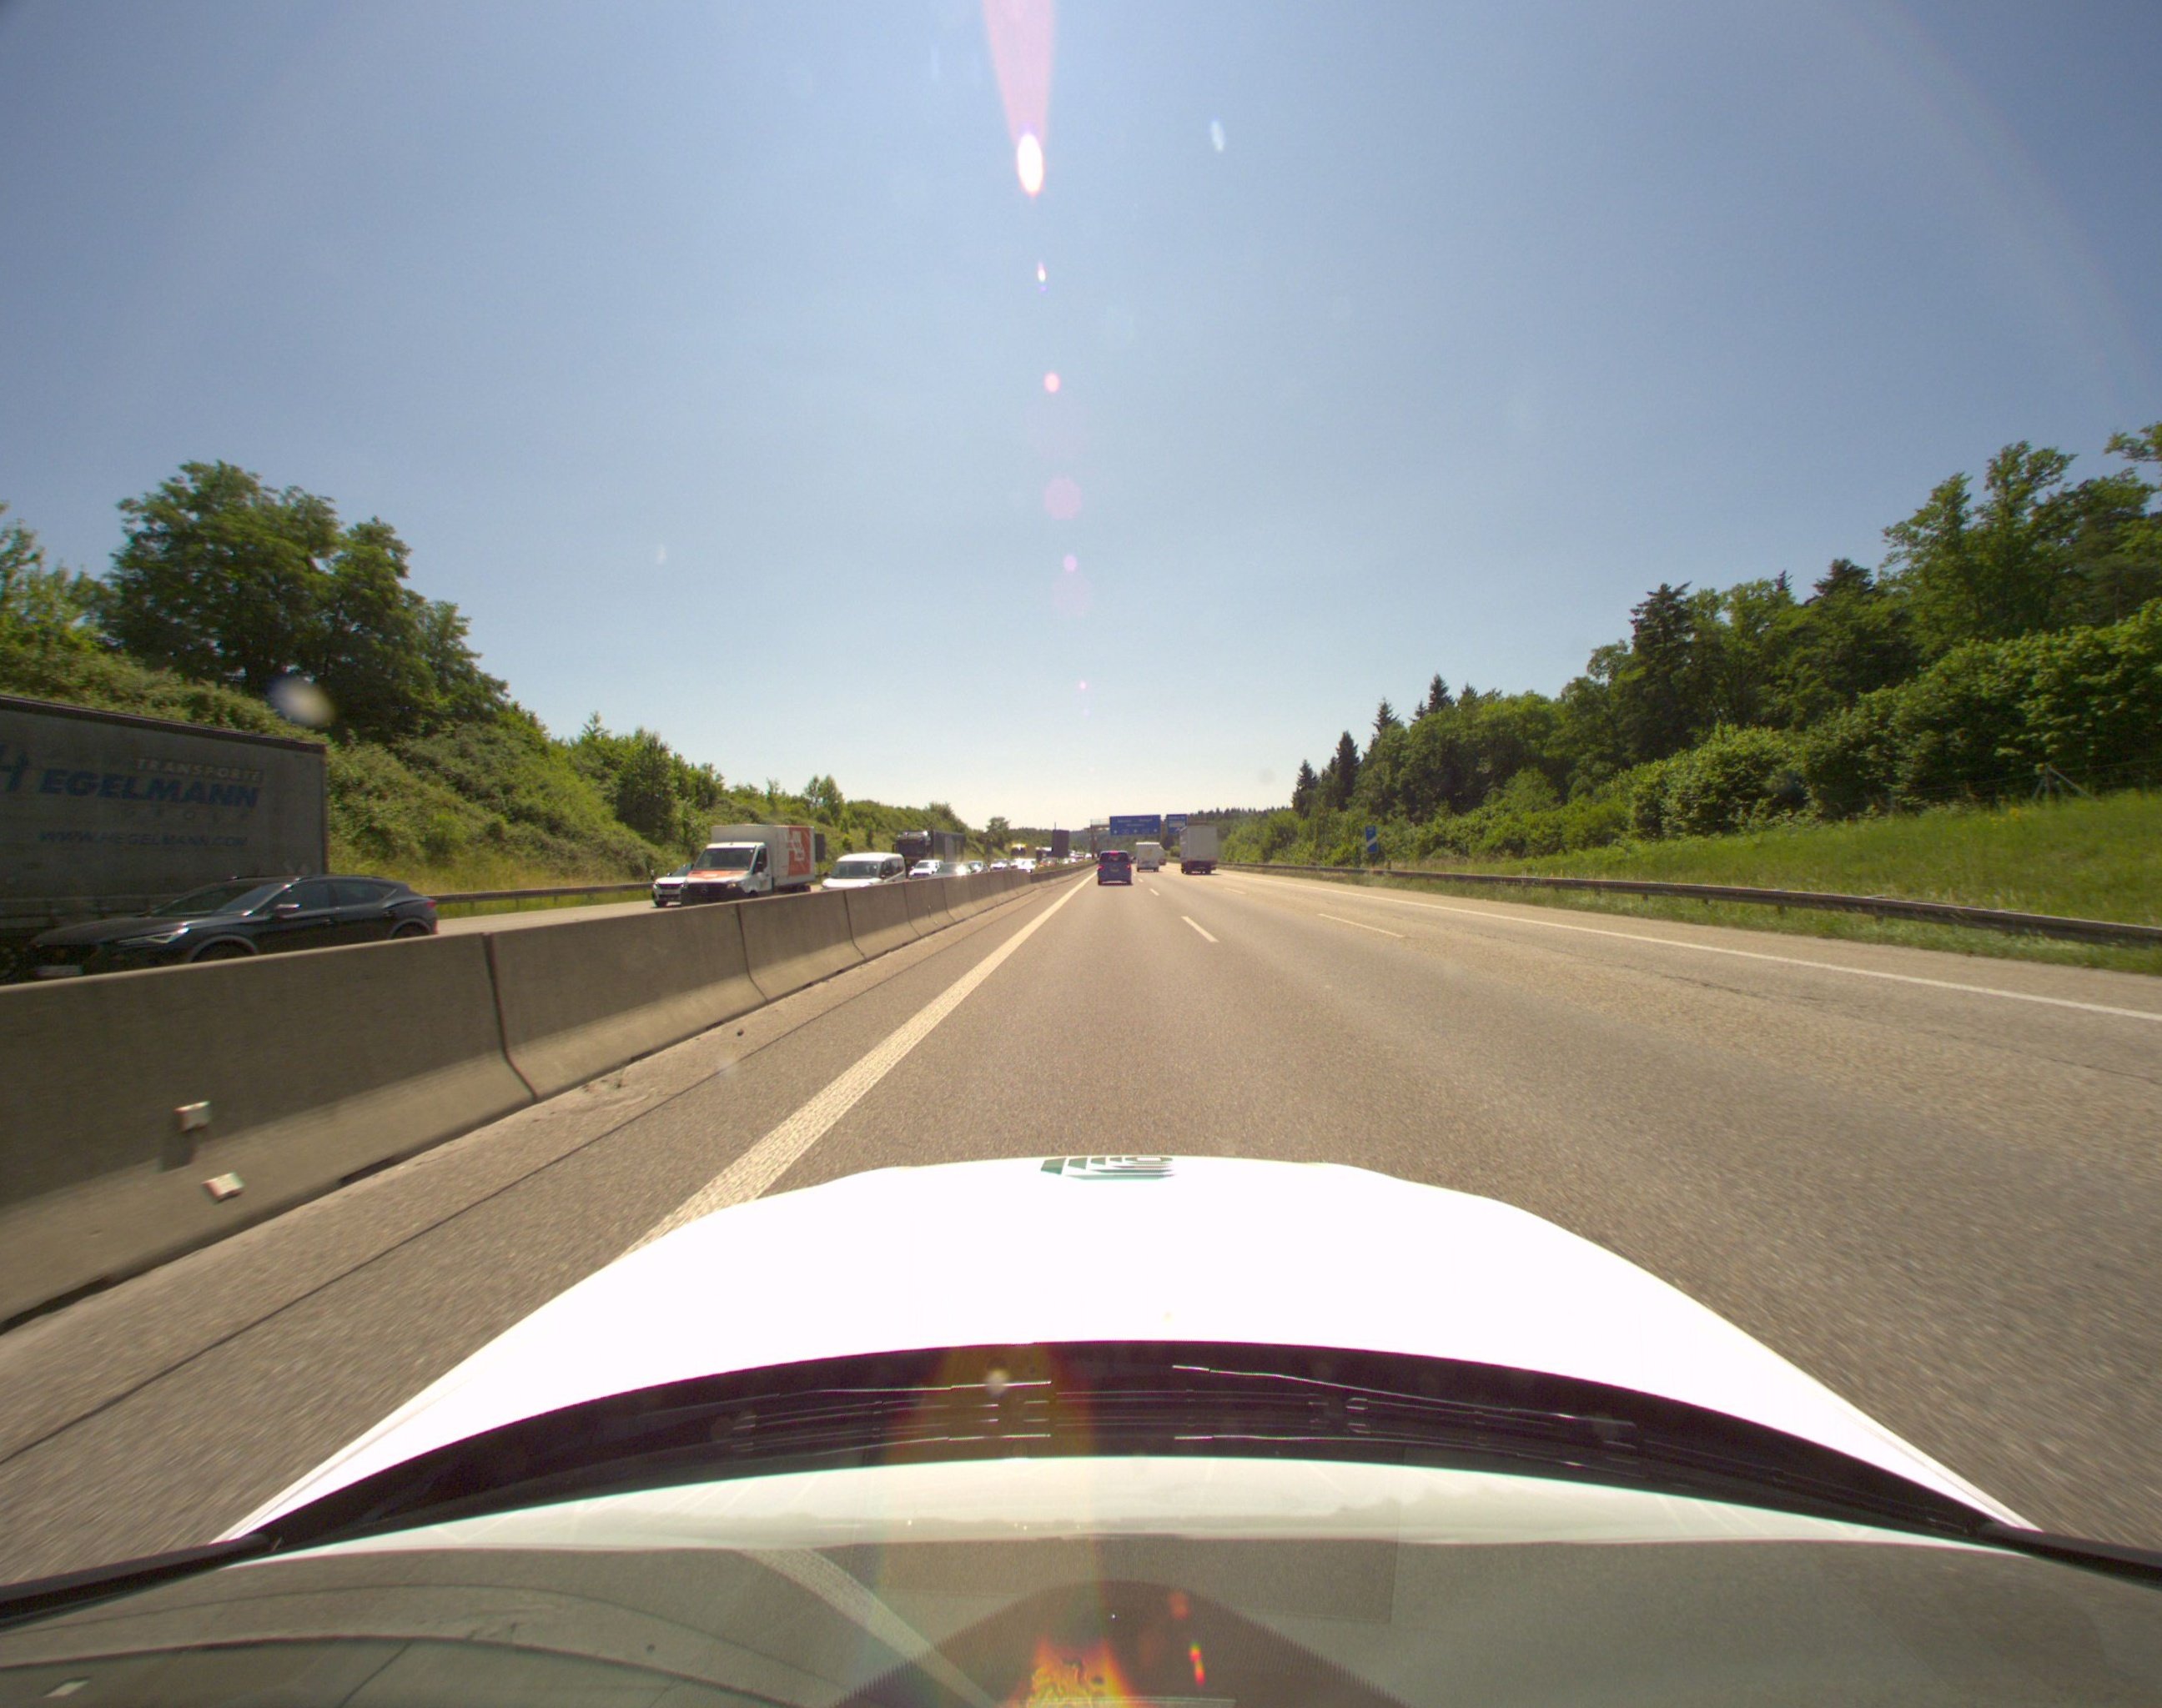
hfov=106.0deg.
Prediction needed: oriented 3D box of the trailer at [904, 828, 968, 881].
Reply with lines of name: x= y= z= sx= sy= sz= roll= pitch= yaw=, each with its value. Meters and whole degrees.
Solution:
trailer: x=-12.606 y=0.119 z=72.284 sx=2.831 sy=4.262 sz=12.794 roll=0 pitch=-1 yaw=3

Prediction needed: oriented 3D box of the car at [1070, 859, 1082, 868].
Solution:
car: x=-0.928 y=1.736 z=150.010 sx=1.804 sy=1.513 sz=5.033 roll=0 pitch=-1 yaw=3

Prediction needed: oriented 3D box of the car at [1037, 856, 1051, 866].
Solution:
car: x=-6.305 y=1.221 z=140.883 sx=1.854 sy=1.752 sz=5.906 roll=0 pitch=-1 yaw=3

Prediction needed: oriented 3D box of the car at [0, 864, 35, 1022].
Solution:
car: x=-11.631 y=0.856 z=6.037 sx=1.821 sy=1.565 sz=4.524 roll=0 pitch=-1 yaw=1

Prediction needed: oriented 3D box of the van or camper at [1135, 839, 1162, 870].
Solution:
van or camper: x=7.025 y=-0.011 z=85.895 sx=2.592 sy=3.078 sz=7.188 roll=0 pitch=1 yaw=3

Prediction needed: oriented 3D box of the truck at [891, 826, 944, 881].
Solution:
truck: x=-12.974 y=-0.027 z=65.032 sx=2.807 sy=4.203 sz=5.633 roll=0 pitch=-1 yaw=3

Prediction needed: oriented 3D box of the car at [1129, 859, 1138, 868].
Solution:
car: x=10.716 y=1.915 z=166.415 sx=1.810 sy=1.794 sz=3.897 roll=0 pitch=-1 yaw=3

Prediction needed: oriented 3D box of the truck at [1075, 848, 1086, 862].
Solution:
truck: x=-0.044 y=0.200 z=175.450 sx=2.111 sy=2.842 sz=6.216 roll=0 pitch=-1 yaw=3

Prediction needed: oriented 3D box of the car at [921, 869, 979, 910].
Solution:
car: x=-6.066 y=1.590 z=38.241 sx=1.821 sy=1.764 sz=4.991 roll=0 pitch=-1 yaw=1

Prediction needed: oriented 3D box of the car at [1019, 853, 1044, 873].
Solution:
car: x=-4.441 y=0.831 z=73.054 sx=1.821 sy=1.764 sz=4.991 roll=0 pitch=-1 yaw=1

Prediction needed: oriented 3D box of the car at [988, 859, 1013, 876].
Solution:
car: x=-8.233 y=1.363 z=83.681 sx=1.804 sy=1.629 sz=5.223 roll=0 pitch=-1 yaw=3

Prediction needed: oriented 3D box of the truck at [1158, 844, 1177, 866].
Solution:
truck: x=15.256 y=0.133 z=143.822 sx=2.915 sy=3.575 sz=8.534 roll=-2 pitch=0 yaw=3

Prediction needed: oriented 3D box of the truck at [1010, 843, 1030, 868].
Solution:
truck: x=-10.144 y=0.366 z=135.906 sx=2.593 sy=4.065 sz=6.134 roll=0 pitch=-1 yaw=1

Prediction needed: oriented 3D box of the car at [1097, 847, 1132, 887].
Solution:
car: x=1.888 y=0.689 z=46.139 sx=1.902 sy=2.013 sz=4.003 roll=-1 pitch=2 yaw=2

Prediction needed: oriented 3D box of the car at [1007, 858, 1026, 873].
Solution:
car: x=-7.835 y=1.339 z=98.909 sx=1.821 sy=1.764 sz=4.991 roll=0 pitch=-1 yaw=1

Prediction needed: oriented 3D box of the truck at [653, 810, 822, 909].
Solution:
truck: x=-11.007 y=0.202 z=26.934 sx=2.559 sy=2.845 sz=6.755 roll=0 pitch=-1 yaw=2

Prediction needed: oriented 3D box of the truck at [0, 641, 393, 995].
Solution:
truck: x=-15.424 y=-0.471 z=9.104 sx=2.982 sy=4.543 sz=13.935 roll=0 pitch=-1 yaw=3

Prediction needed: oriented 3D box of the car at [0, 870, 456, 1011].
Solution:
car: x=-11.480 y=1.029 z=11.468 sx=1.790 sy=1.557 sz=4.450 roll=0 pitch=-1 yaw=2

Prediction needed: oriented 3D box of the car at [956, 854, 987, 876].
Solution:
car: x=-9.030 y=0.905 z=67.526 sx=1.821 sy=1.764 sz=4.991 roll=0 pitch=-1 yaw=1

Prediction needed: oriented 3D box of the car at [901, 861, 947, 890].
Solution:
car: x=-9.795 y=1.320 z=51.272 sx=1.821 sy=1.764 sz=4.991 roll=0 pitch=-1 yaw=1

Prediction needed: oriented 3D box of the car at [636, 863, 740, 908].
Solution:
car: x=-15.000 y=1.168 z=31.373 sx=1.726 sy=1.587 sz=4.371 roll=0 pitch=-1 yaw=2

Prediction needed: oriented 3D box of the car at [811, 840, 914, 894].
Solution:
car: x=-6.832 y=0.417 z=26.093 sx=1.821 sy=1.565 sz=5.112 roll=0 pitch=-1 yaw=1

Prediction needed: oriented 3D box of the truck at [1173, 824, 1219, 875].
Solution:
truck: x=9.985 y=-0.284 z=71.602 sx=2.773 sy=4.128 sz=9.740 roll=0 pitch=-1 yaw=1

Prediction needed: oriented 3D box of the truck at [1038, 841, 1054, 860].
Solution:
truck: x=-7.926 y=-0.739 z=185.836 sx=2.768 sy=4.114 sz=7.039 roll=-1 pitch=-1 yaw=5
